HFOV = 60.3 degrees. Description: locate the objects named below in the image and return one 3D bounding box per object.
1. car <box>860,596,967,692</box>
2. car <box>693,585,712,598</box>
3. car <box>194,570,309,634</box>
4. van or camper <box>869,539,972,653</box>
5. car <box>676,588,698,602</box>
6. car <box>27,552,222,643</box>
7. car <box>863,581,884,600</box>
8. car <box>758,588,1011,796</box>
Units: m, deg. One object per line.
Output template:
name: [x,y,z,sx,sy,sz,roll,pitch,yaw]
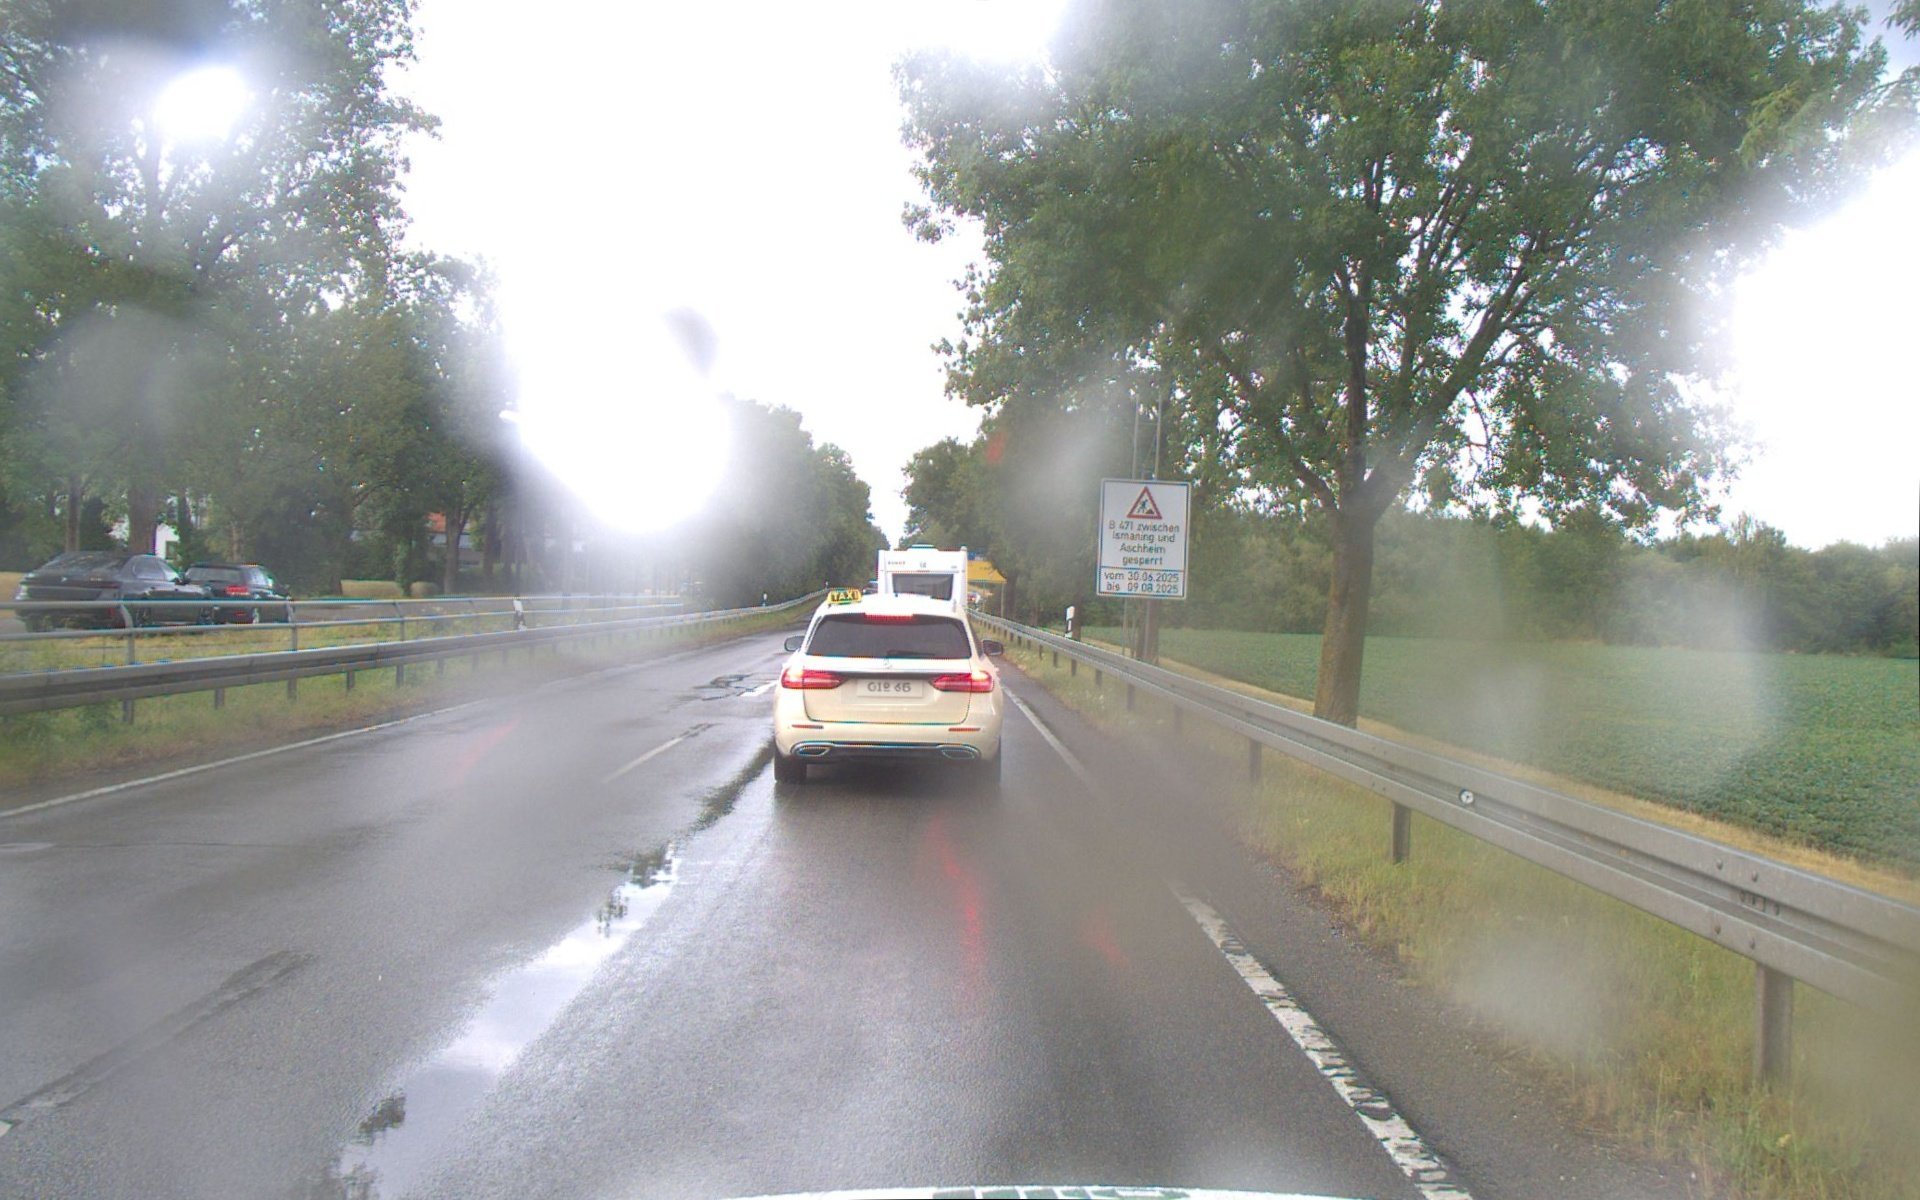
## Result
car: [-0.726,0.668,27.384,1.630,1.456,4.000,1,0,0]
car: [-30.673,-1.013,197.165,1.750,1.440,3.998,2,0,-3]
car: [-16.107,0.020,37.777,1.258,1.354,3.894,2,0,-6]
van or camper: [-0.973,-0.114,43.129,2.439,2.732,5.700,1,0,0]
car: [-30.360,-0.542,183.847,1.749,1.440,4.000,2,0,0]
car: [-15.703,-0.062,31.380,1.486,1.517,5.116,2,0,-6]
car: [-7.542,-0.865,144.860,1.728,1.647,3.998,0,0,-2]
car: [-0.561,0.659,14.029,1.827,1.502,4.000,1,0,0]
